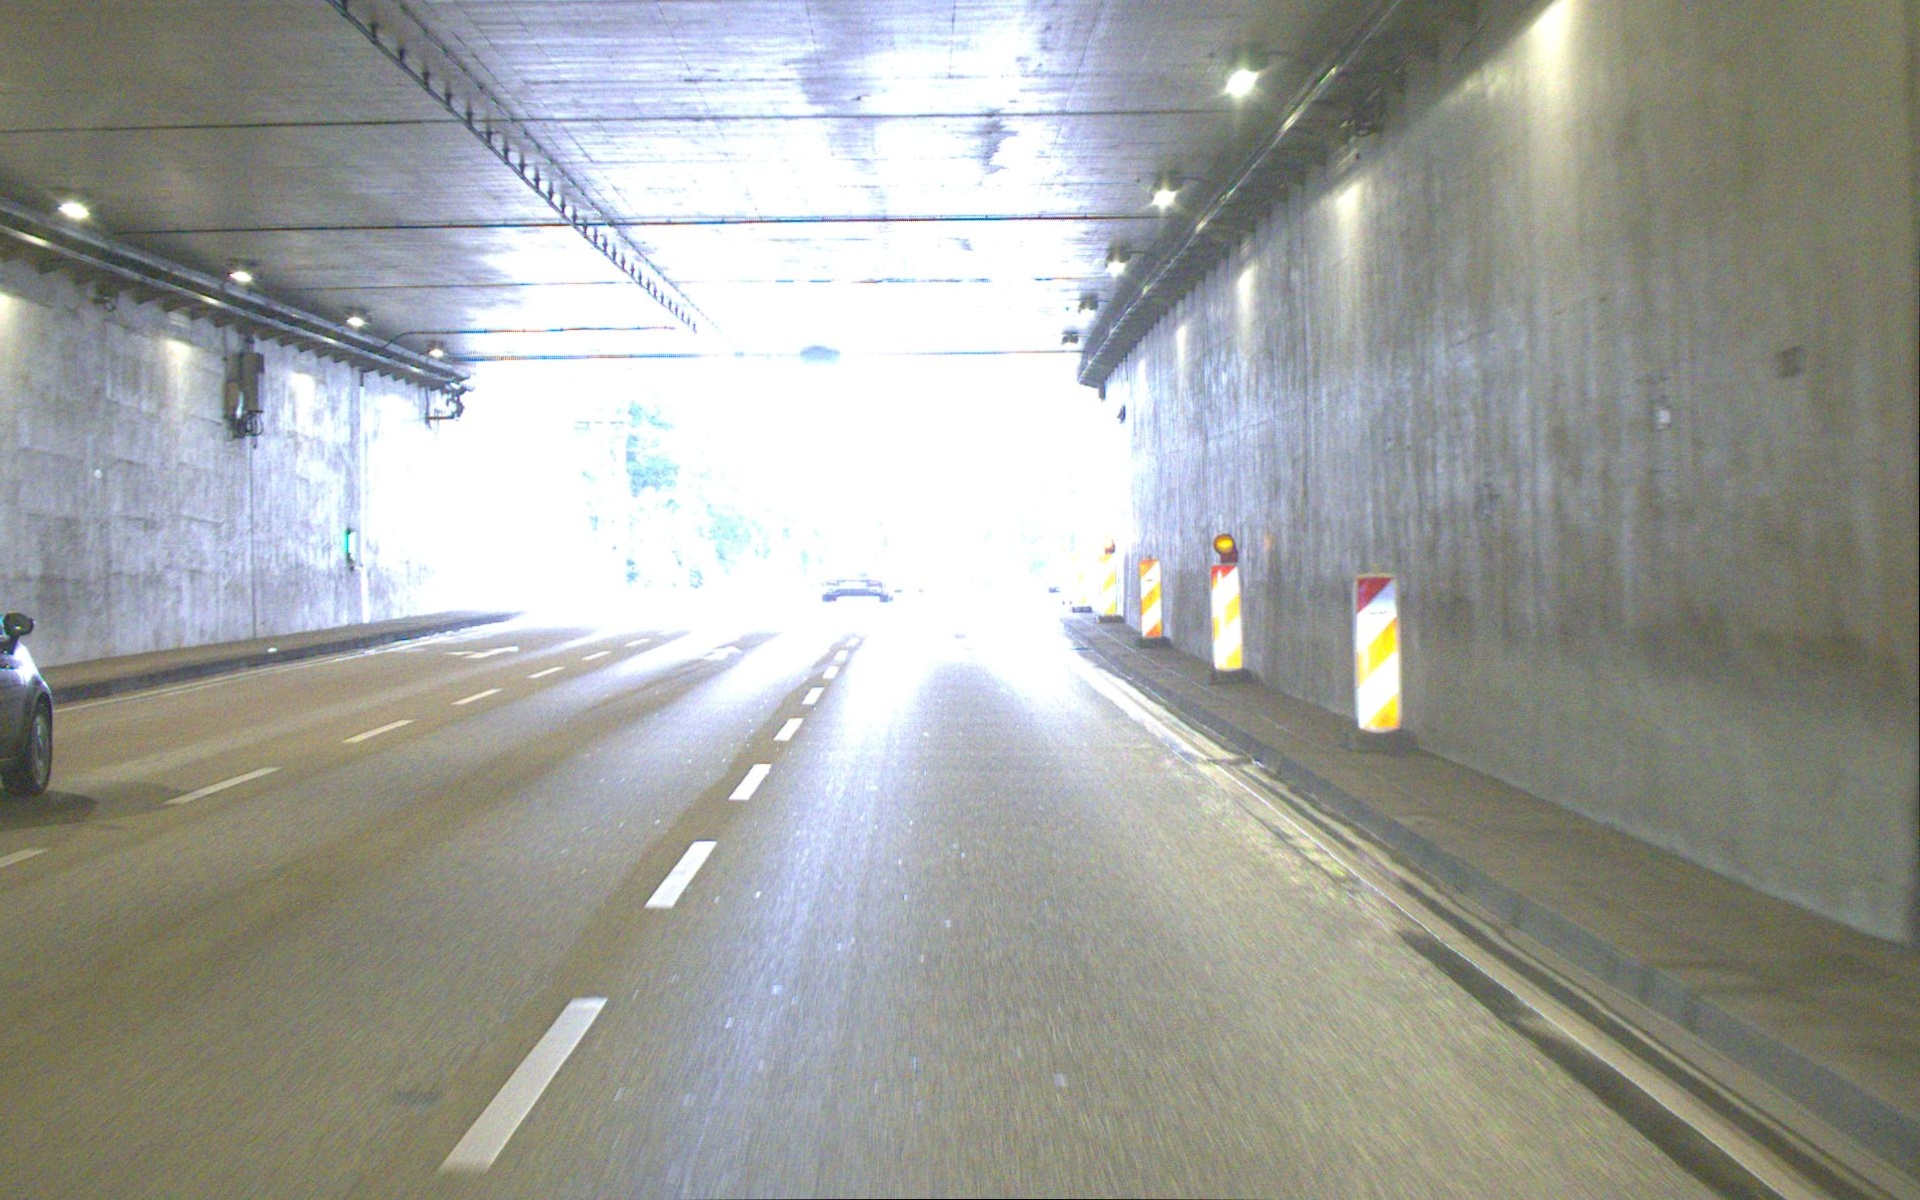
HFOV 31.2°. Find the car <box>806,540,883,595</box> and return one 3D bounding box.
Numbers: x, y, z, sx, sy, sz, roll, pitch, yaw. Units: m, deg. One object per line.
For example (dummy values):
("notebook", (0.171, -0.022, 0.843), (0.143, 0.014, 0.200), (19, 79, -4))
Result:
("car", (-3.202, -0.883, 94.676), (1.993, 1.443, 4.315), (-1, 0, -3))

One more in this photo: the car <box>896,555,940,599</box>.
("car", (-1.975, -1.057, 160.009), (1.993, 2.007, 4.000), (0, 0, -1))

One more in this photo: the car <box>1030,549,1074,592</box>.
("car", (4.404, -1.402, 165.270), (1.993, 2.007, 4.000), (0, 0, 0))

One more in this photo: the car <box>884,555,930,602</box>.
("car", (-2.340, -0.920, 151.277), (1.993, 2.007, 4.000), (0, 0, -1))

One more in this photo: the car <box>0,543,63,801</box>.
("car", (-6.192, 0.403, 19.061), (1.612, 1.449, 3.573), (0, 1, -2))
